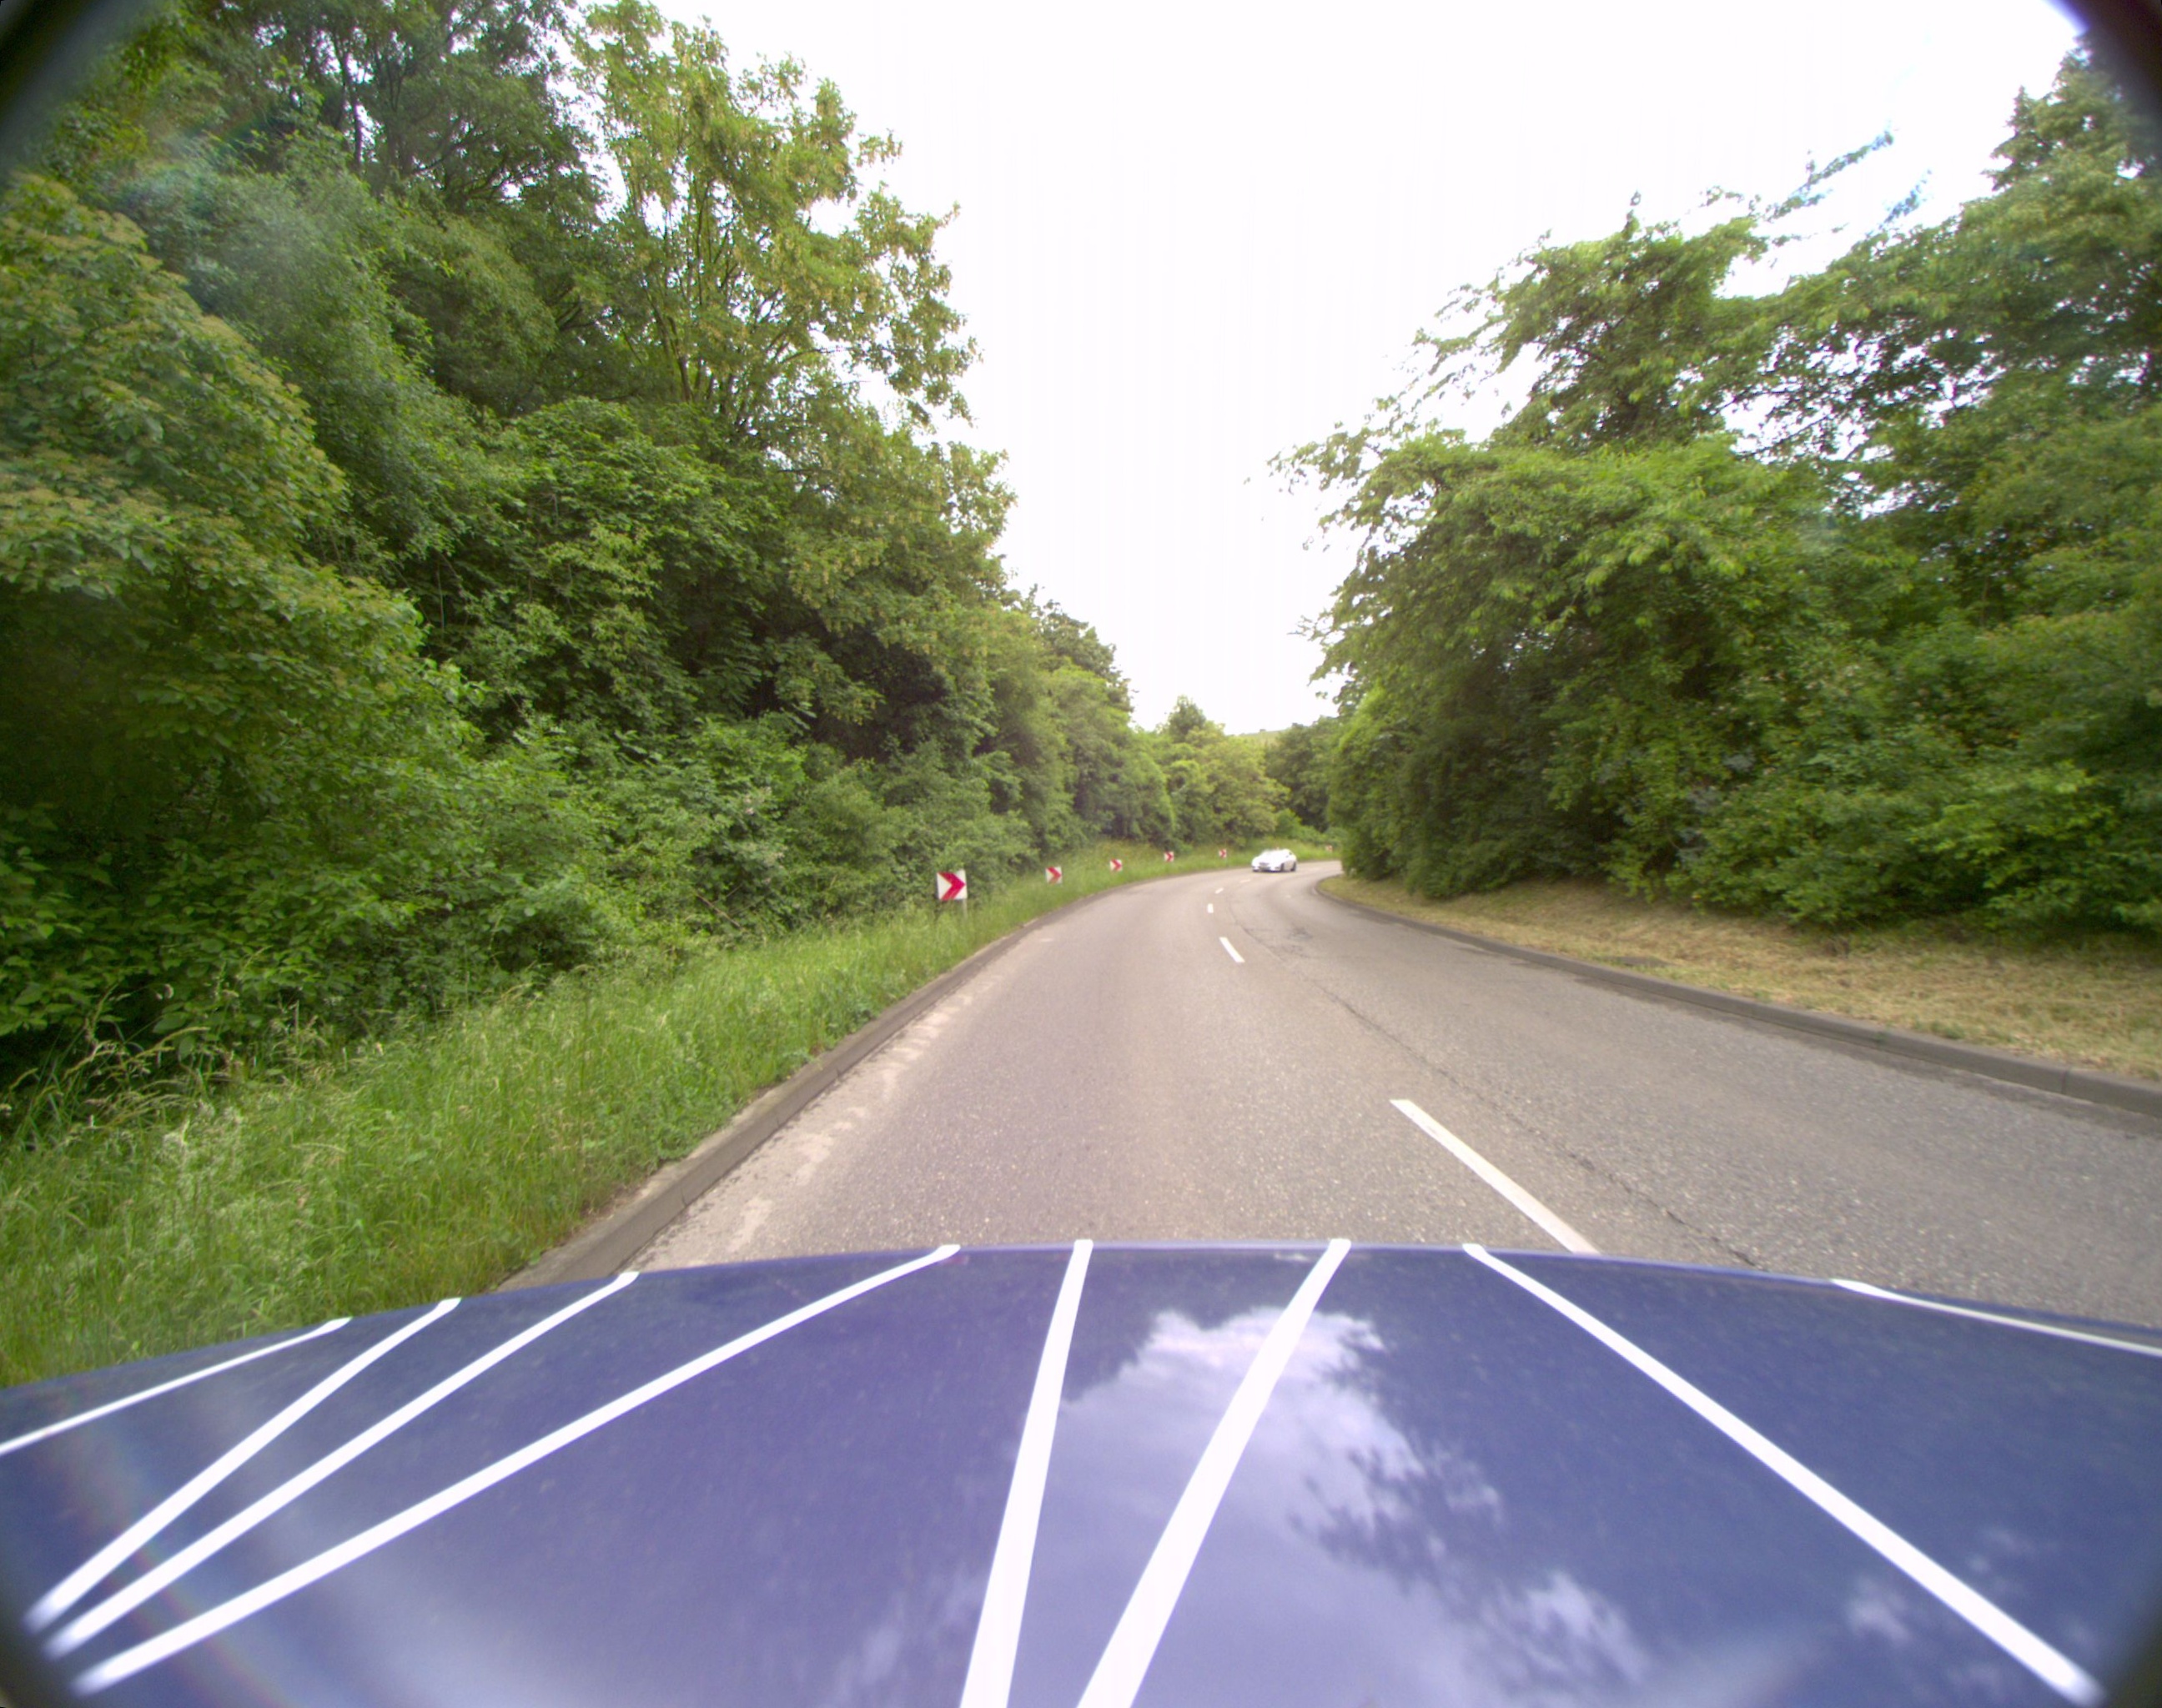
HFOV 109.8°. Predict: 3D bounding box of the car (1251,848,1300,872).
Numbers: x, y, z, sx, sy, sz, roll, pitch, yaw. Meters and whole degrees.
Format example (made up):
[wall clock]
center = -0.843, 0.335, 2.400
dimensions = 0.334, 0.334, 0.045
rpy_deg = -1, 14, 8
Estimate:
[car]
center = 12.514, 0.339, 48.782
dimensions = 1.862, 1.423, 4.364
rpy_deg = 2, 2, 31
